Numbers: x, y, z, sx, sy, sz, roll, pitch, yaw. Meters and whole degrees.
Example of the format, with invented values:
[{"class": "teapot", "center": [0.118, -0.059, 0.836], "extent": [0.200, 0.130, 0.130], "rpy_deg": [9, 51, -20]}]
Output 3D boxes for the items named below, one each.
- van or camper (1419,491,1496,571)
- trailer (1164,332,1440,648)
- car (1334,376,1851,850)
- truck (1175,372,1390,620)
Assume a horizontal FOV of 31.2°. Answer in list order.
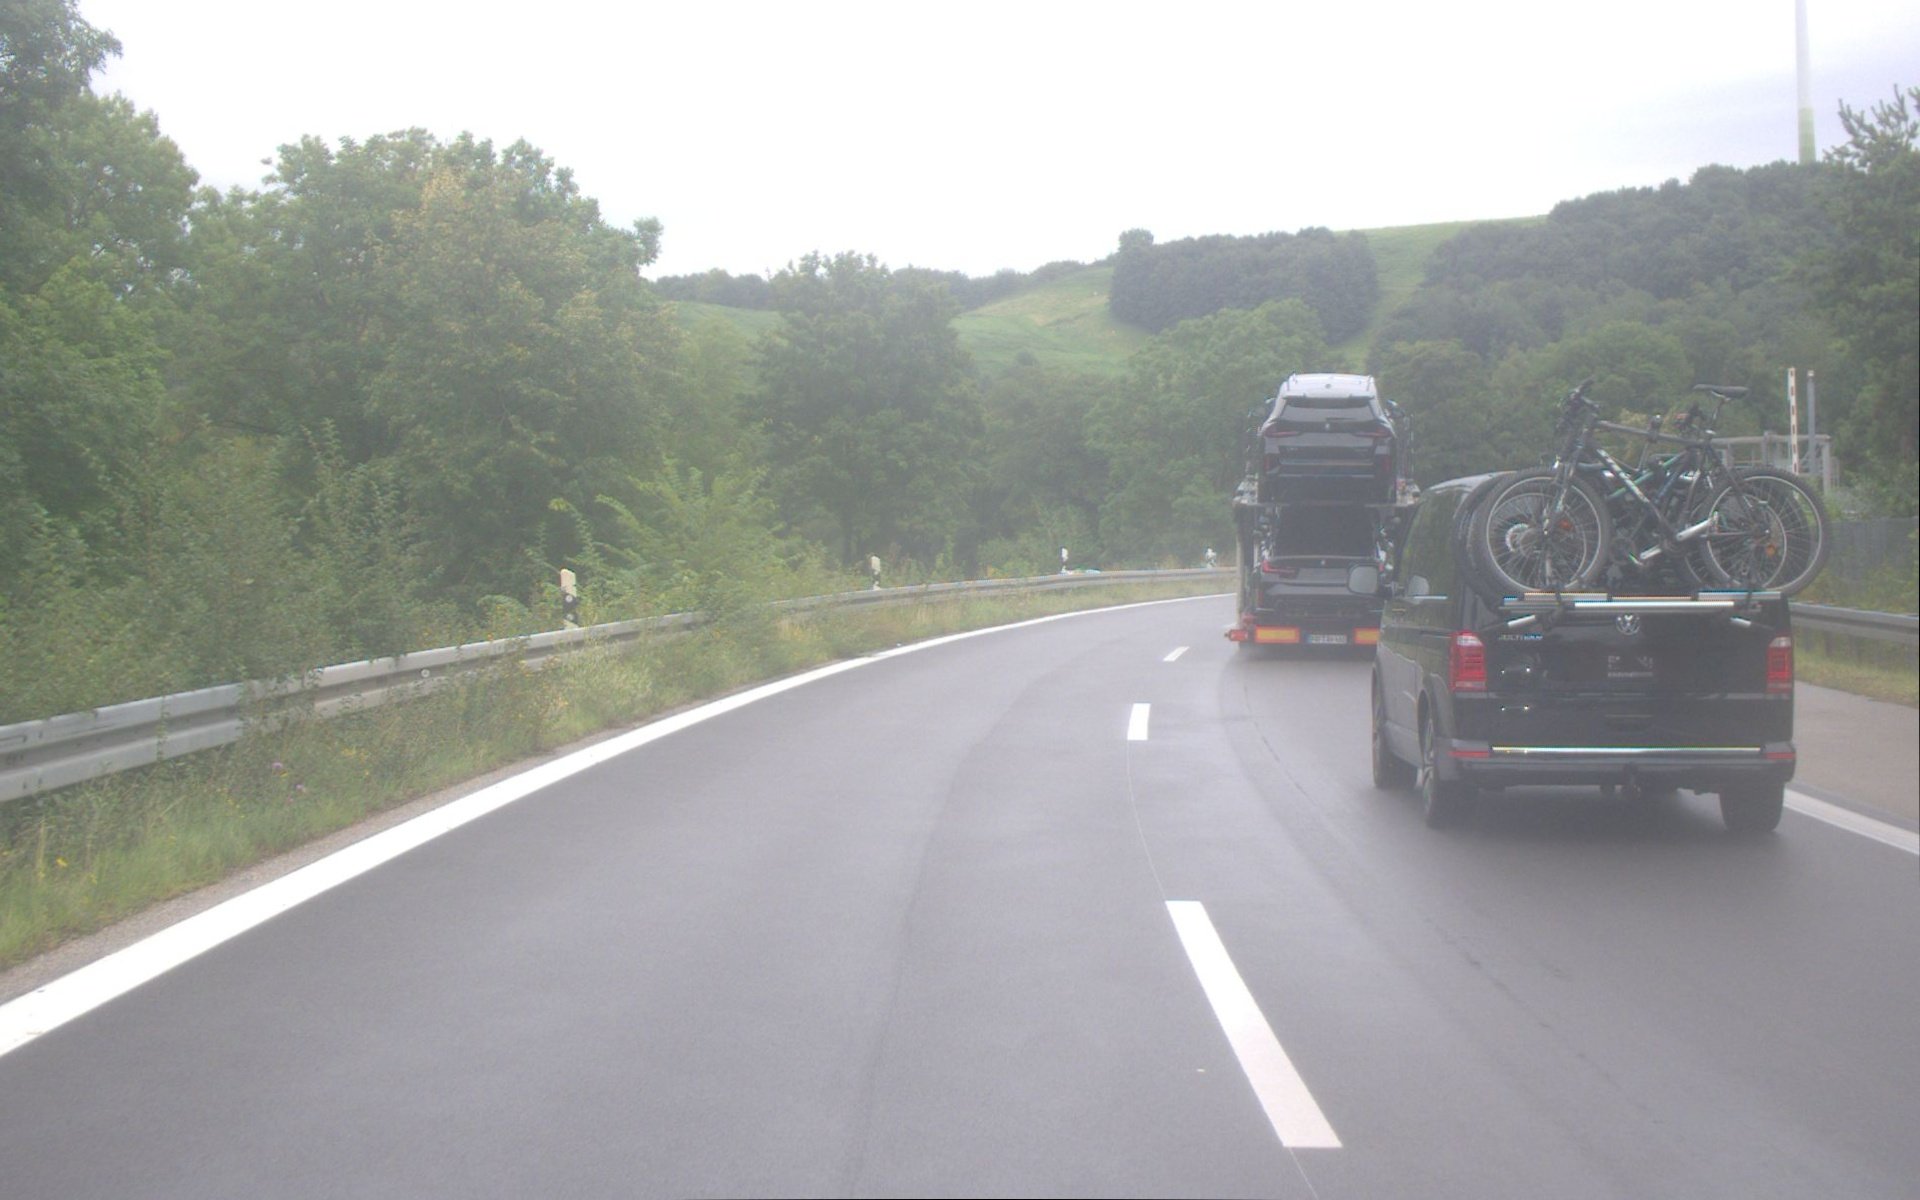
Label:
[{"class": "van or camper", "center": [14.355, -1.991, 99.361], "extent": [2.093, 2.224, 4.430], "rpy_deg": [1, 1, 7]}, {"class": "trailer", "center": [4.826, -1.552, 50.249], "extent": [3.449, 3.986, 12.025], "rpy_deg": [1, 1, 4]}, {"class": "car", "center": [3.390, -0.017, 19.652], "extent": [2.110, 2.257, 5.896], "rpy_deg": [1, 2, 3]}, {"class": "truck", "center": [5.655, -1.817, 61.624], "extent": [3.395, 3.986, 10.846], "rpy_deg": [1, 1, 4]}]
